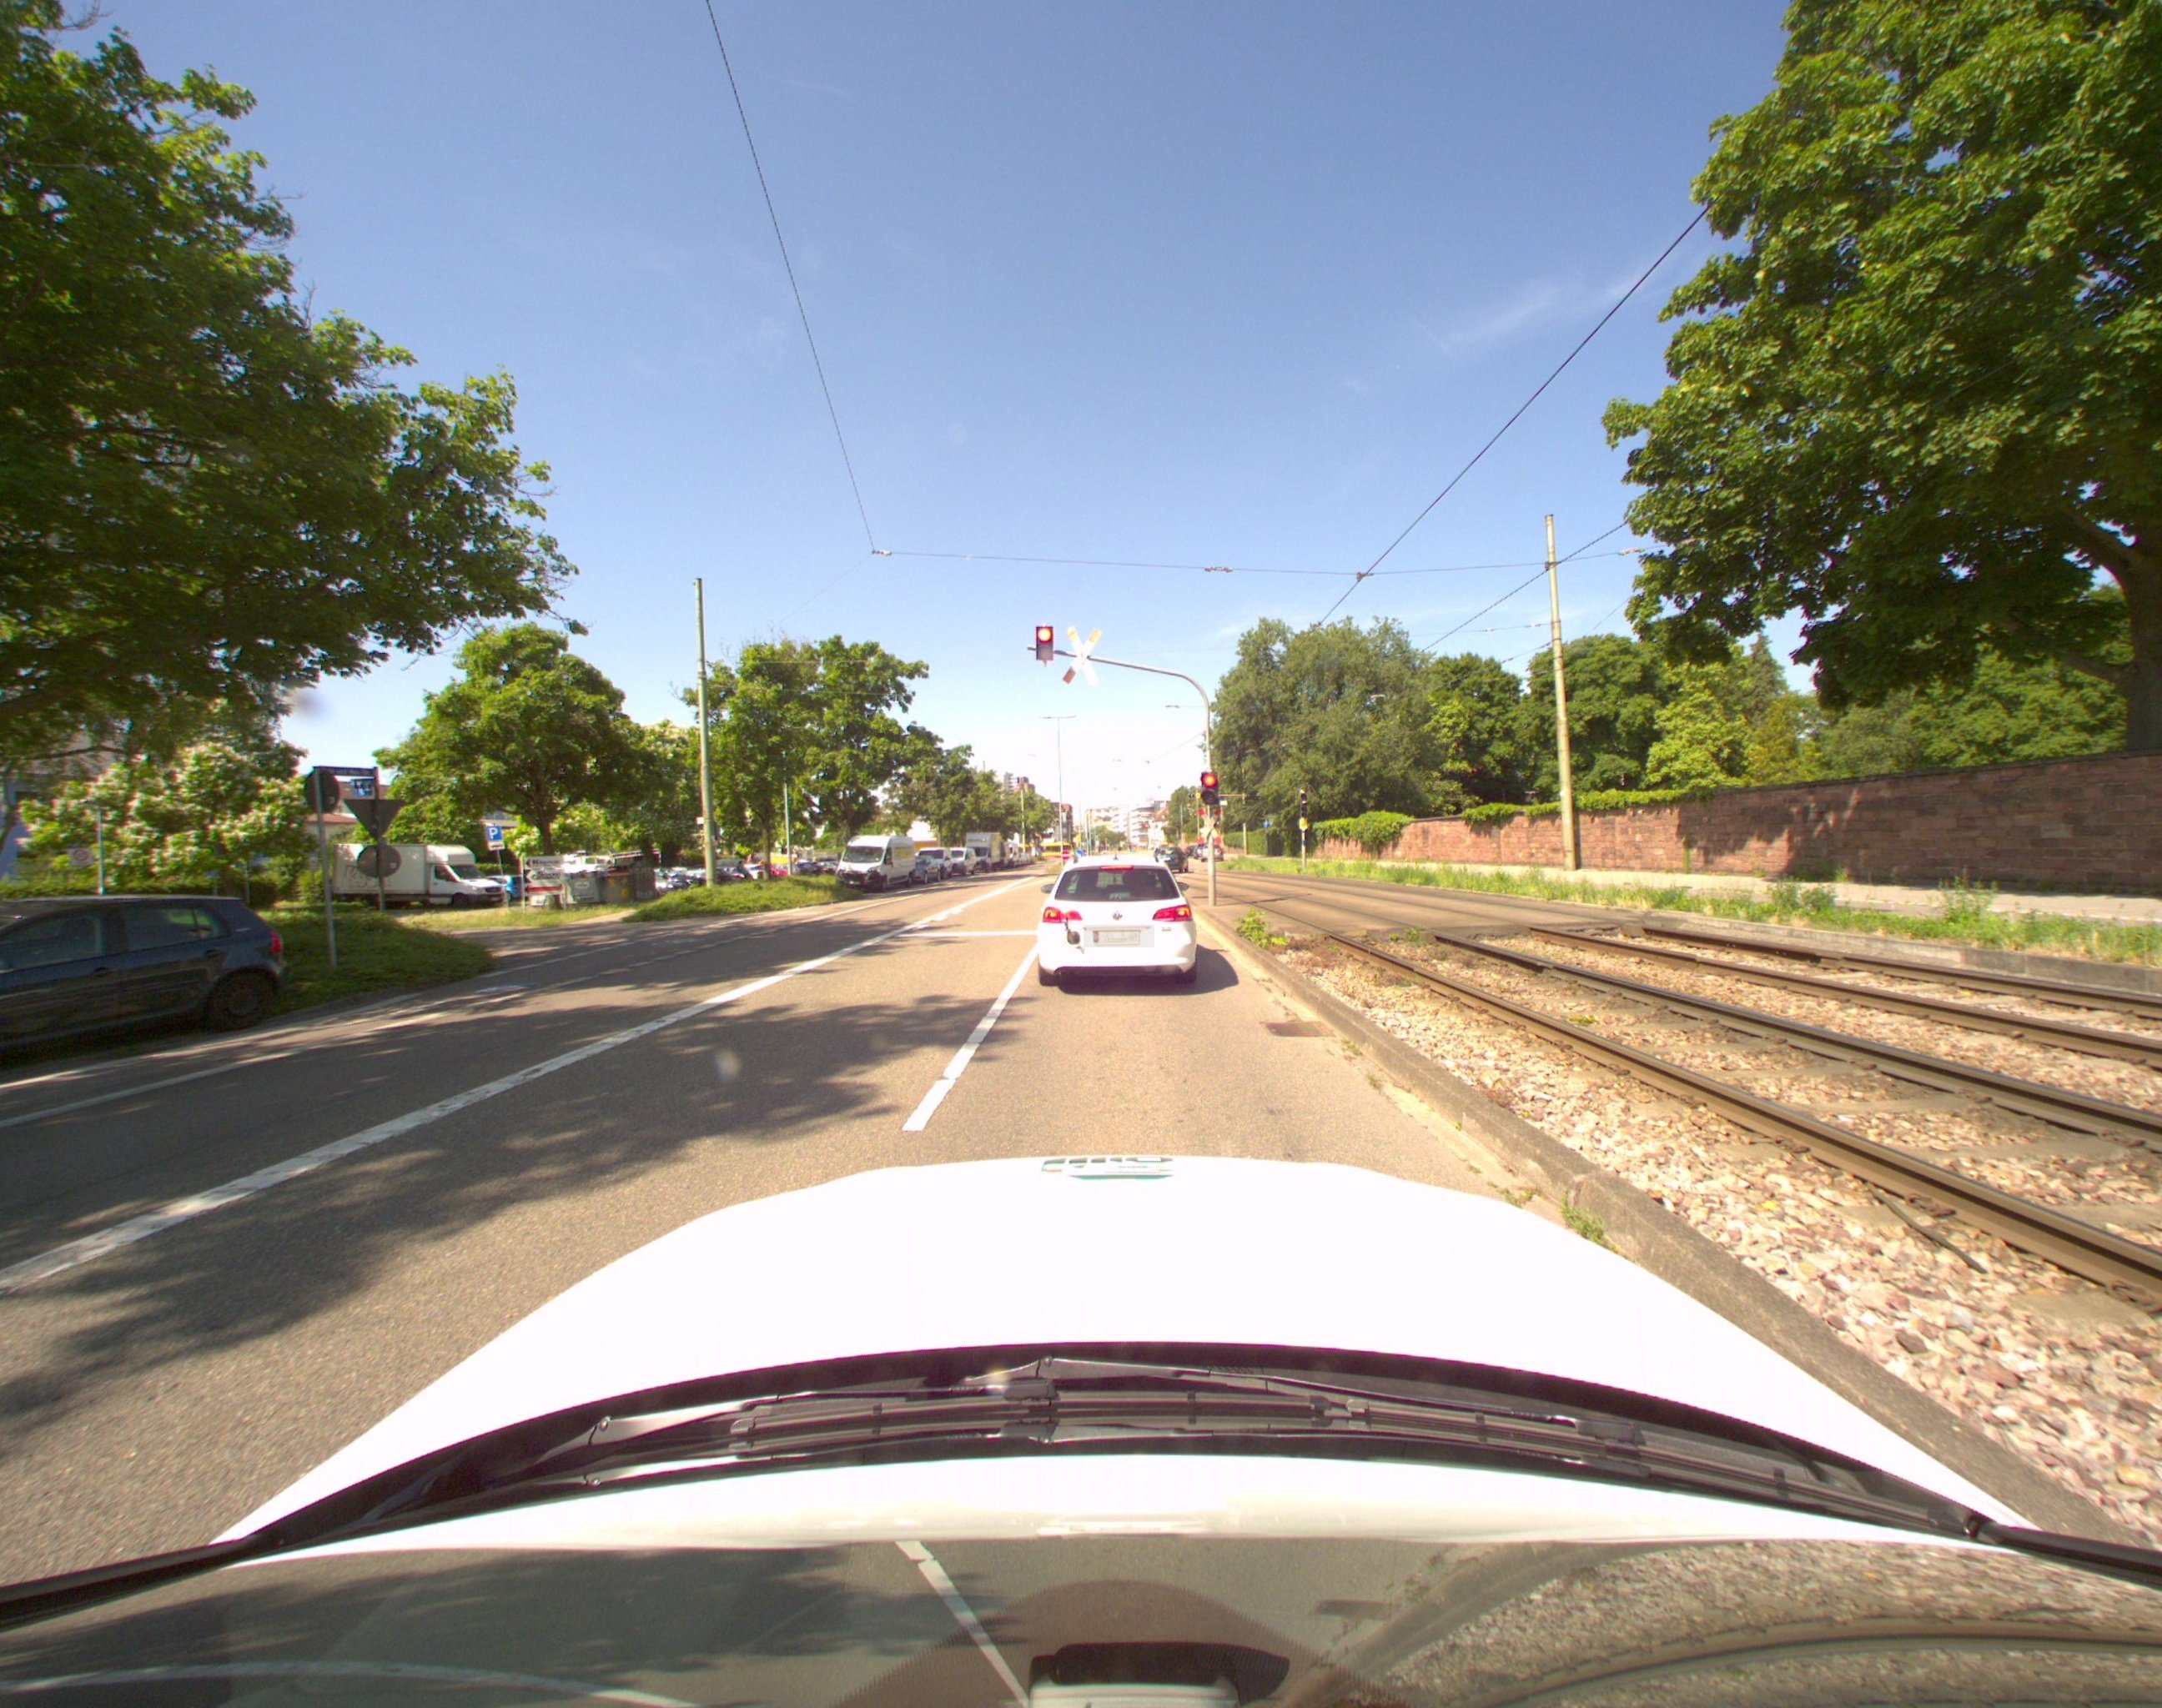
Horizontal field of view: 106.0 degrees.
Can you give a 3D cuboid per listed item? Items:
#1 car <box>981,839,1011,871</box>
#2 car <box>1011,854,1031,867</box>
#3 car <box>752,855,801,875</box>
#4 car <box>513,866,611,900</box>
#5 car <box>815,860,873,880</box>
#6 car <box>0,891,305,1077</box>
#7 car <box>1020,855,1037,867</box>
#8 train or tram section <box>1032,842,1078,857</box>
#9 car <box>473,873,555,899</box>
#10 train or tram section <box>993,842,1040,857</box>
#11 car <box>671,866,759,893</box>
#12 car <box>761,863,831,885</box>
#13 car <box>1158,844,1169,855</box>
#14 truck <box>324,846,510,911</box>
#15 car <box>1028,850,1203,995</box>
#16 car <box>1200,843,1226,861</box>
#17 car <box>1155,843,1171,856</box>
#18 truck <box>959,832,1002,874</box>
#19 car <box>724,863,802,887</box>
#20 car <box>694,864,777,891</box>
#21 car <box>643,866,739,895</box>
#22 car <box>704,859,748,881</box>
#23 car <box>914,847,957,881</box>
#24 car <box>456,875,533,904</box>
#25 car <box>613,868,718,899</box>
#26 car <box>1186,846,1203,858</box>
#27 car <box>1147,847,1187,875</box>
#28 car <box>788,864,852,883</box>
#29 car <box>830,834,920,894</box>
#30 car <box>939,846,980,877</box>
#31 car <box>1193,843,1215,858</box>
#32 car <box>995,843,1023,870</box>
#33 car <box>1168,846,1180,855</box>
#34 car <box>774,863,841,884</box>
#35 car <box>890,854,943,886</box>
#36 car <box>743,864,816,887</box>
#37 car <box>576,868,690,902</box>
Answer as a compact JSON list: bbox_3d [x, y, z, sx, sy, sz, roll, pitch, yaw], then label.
[{"bbox_3d":[-7.592,0.095,73.062,1.836,2.668,5.006,-2,0,3],"label":"car"},{"bbox_3d":[-7.061,0.711,96.164,1.836,1.433,4.040,-2,0,2],"label":"car"},{"bbox_3d":[-30.838,1.084,82.647,4.248,2.014,1.997,0,-1,-4],"label":"car"},{"bbox_3d":[-31.752,1.737,49.939,4.682,2.014,1.998,0,-1,-3],"label":"car"},{"bbox_3d":[-18.666,1.256,64.312,3.969,1.444,1.773,-2,0,4],"label":"car"},{"bbox_3d":[-9.989,1.170,7.543,1.635,1.450,4.007,0,0,3],"label":"car"},{"bbox_3d":[-6.526,0.858,101.537,1.774,1.433,4.040,-2,0,2],"label":"car"},{"bbox_3d":[-5.870,-0.987,180.588,11.128,3.253,2.323,0,-1,37],"label":"train or tram section"},{"bbox_3d":[-32.901,1.826,47.309,3.754,1.356,1.560,1,1,5],"label":"car"},{"bbox_3d":[-14.751,-0.957,185.849,10.675,3.253,2.322,0,-1,24],"label":"train or tram section"},{"bbox_3d":[-19.971,1.397,44.522,3.969,1.225,1.773,-2,0,4],"label":"car"},{"bbox_3d":[-19.142,1.350,54.819,3.969,1.225,1.773,-2,0,4],"label":"car"},{"bbox_3d":[14.233,-0.777,141.110,1.684,1.812,3.455,0,0,2],"label":"car"},{"bbox_3d":[-32.219,1.157,39.660,7.118,3.019,2.231,1,0,-1],"label":"truck"},{"bbox_3d":[0.394,0.683,10.154,1.761,1.446,3.914,0,0,1],"label":"car"},{"bbox_3d":[11.045,-0.191,67.908,1.848,1.416,4.341,0,0,14],"label":"car"},{"bbox_3d":[15.316,-0.813,152.303,2.453,2.499,5.912,0,0,2],"label":"car"},{"bbox_3d":[-7.980,-0.112,65.436,2.348,3.122,6.893,-2,0,1],"label":"truck"},{"bbox_3d":[-19.345,1.264,49.674,3.969,1.264,1.773,-2,0,4],"label":"car"},{"bbox_3d":[-19.923,1.334,46.997,3.969,1.350,1.773,-2,0,4],"label":"car"},{"bbox_3d":[-19.698,1.336,41.246,3.969,1.225,1.773,-2,0,4],"label":"car"},{"bbox_3d":[-33.858,1.538,77.623,3.412,1.876,1.552,-2,0,0],"label":"car"},{"bbox_3d":[-8.945,0.557,50.446,1.839,1.937,5.190,-2,0,-2],"label":"car"},{"bbox_3d":[-32.215,1.951,44.776,3.117,1.432,1.560,1,1,5],"label":"car"},{"bbox_3d":[-19.576,1.369,38.490,3.974,1.225,1.771,-2,0,0],"label":"car"},{"bbox_3d":[13.081,-0.264,94.271,1.738,1.407,3.917,0,0,4],"label":"car"},{"bbox_3d":[4.508,0.324,42.244,1.735,1.388,3.925,0,0,11],"label":"car"},{"bbox_3d":[-18.928,1.410,59.175,3.969,1.225,1.773,-2,0,4],"label":"car"},{"bbox_3d":[-9.286,0.388,37.446,2.049,2.501,6.315,0,1,5],"label":"car"},{"bbox_3d":[-8.439,0.484,56.923,1.836,1.960,5.137,-2,0,3],"label":"car"},{"bbox_3d":[12.385,-0.369,82.300,1.853,1.513,3.918,0,0,4],"label":"car"},{"bbox_3d":[-7.083,0.233,80.699,1.836,2.494,5.860,-2,0,3],"label":"car"},{"bbox_3d":[14.255,-0.458,125.504,1.575,1.346,3.455,0,0,2],"label":"car"},{"bbox_3d":[-19.128,1.341,57.059,3.969,1.225,1.773,-2,0,4],"label":"car"},{"bbox_3d":[-8.762,0.822,43.714,1.836,1.516,4.199,-2,0,2],"label":"car"},{"bbox_3d":[-19.295,1.378,52.246,3.969,1.225,1.773,-2,0,4],"label":"car"},{"bbox_3d":[-19.718,1.349,35.977,3.974,1.225,1.771,-2,0,0],"label":"car"}]
